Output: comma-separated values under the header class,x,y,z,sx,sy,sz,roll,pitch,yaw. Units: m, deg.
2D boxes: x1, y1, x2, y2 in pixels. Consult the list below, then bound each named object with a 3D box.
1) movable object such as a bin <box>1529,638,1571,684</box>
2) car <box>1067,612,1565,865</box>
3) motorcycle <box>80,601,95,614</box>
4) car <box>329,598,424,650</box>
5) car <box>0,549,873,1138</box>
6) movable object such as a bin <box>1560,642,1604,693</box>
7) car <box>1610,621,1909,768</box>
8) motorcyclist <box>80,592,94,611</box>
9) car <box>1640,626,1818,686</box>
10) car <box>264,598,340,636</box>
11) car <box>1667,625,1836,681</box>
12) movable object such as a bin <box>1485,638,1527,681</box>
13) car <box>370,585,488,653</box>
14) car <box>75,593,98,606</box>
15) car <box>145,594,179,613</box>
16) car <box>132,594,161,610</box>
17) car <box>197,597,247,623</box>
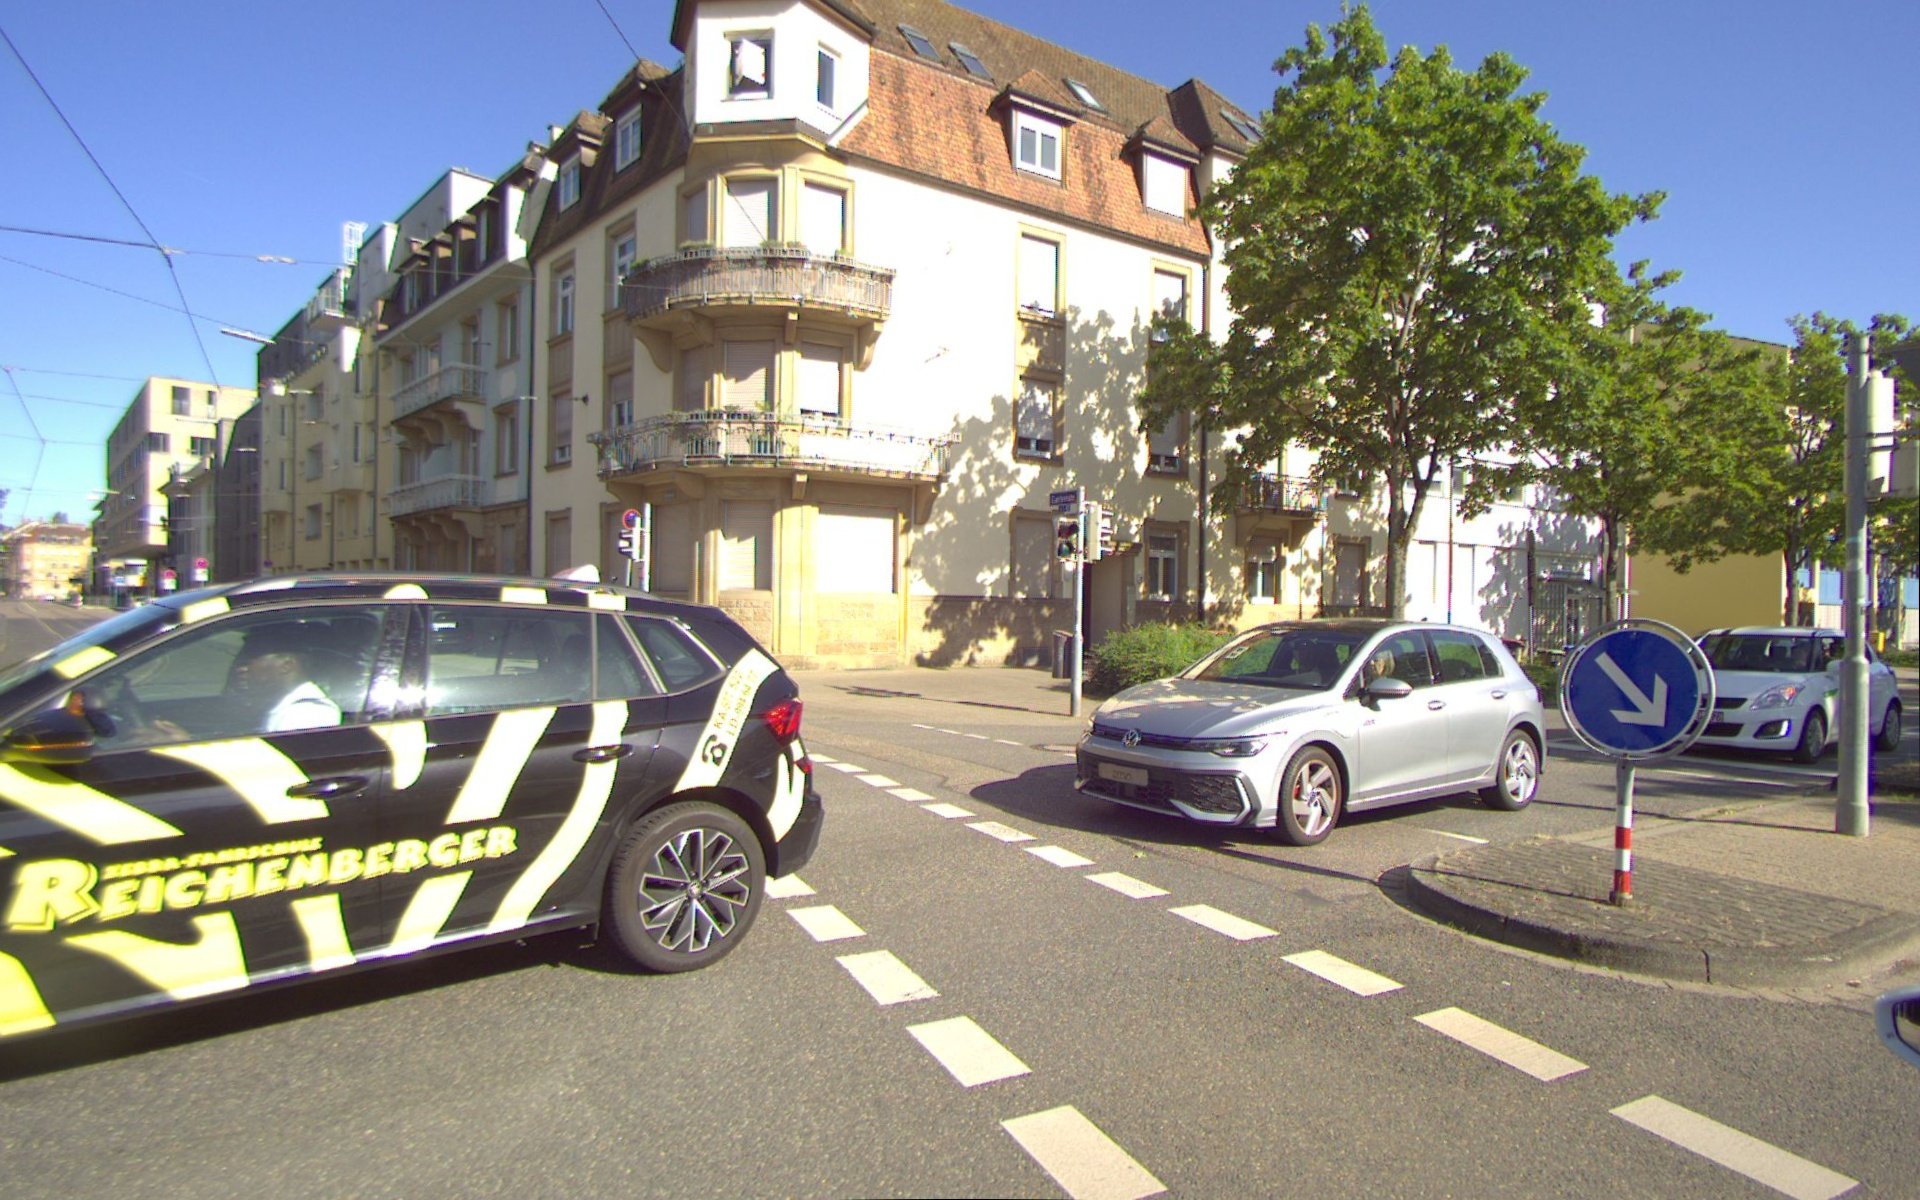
class,x,y,z,sx,sy,sz,roll,pitch,yaw
movable object such as a bin,13.132,1.352,22.363,0.629,0.989,0.513,1,0,-22
car,2.828,0.860,7.731,3.811,1.471,1.697,1,0,-34
motorcycle,-89.808,0.797,103.342,2.725,1.249,0.912,1,0,44
car,-18.846,0.752,32.361,1.885,1.561,3.842,2,-1,-42
car,-2.508,0.642,3.760,4.082,1.534,1.773,1,0,-40
movable object such as a bin,13.295,1.435,21.481,0.629,1.061,0.513,1,0,-22
car,9.807,1.044,12.268,3.820,1.532,1.696,1,-2,-32
motorcyclist,-89.695,0.182,103.234,1.041,1.894,0.937,1,0,43
car,22.373,1.588,29.409,3.813,1.530,1.826,2,-1,26
car,-25.707,0.641,39.201,1.985,1.381,3.795,0,1,-41
car,24.552,1.618,31.330,3.814,1.530,1.826,2,-1,27
movable object such as a bin,12.170,1.330,22.391,0.629,0.925,0.513,1,0,-22
car,-14.849,0.500,27.995,1.948,1.747,4.122,2,-1,-42
car,-90.761,-0.076,104.350,1.789,1.381,3.668,0,1,-41
car,-59.247,0.218,74.546,1.789,1.381,3.668,0,1,-41
car,-69.328,0.125,85.617,1.789,1.347,3.668,0,1,-41
car,-41.082,0.515,55.871,1.949,1.381,3.795,0,1,-41
